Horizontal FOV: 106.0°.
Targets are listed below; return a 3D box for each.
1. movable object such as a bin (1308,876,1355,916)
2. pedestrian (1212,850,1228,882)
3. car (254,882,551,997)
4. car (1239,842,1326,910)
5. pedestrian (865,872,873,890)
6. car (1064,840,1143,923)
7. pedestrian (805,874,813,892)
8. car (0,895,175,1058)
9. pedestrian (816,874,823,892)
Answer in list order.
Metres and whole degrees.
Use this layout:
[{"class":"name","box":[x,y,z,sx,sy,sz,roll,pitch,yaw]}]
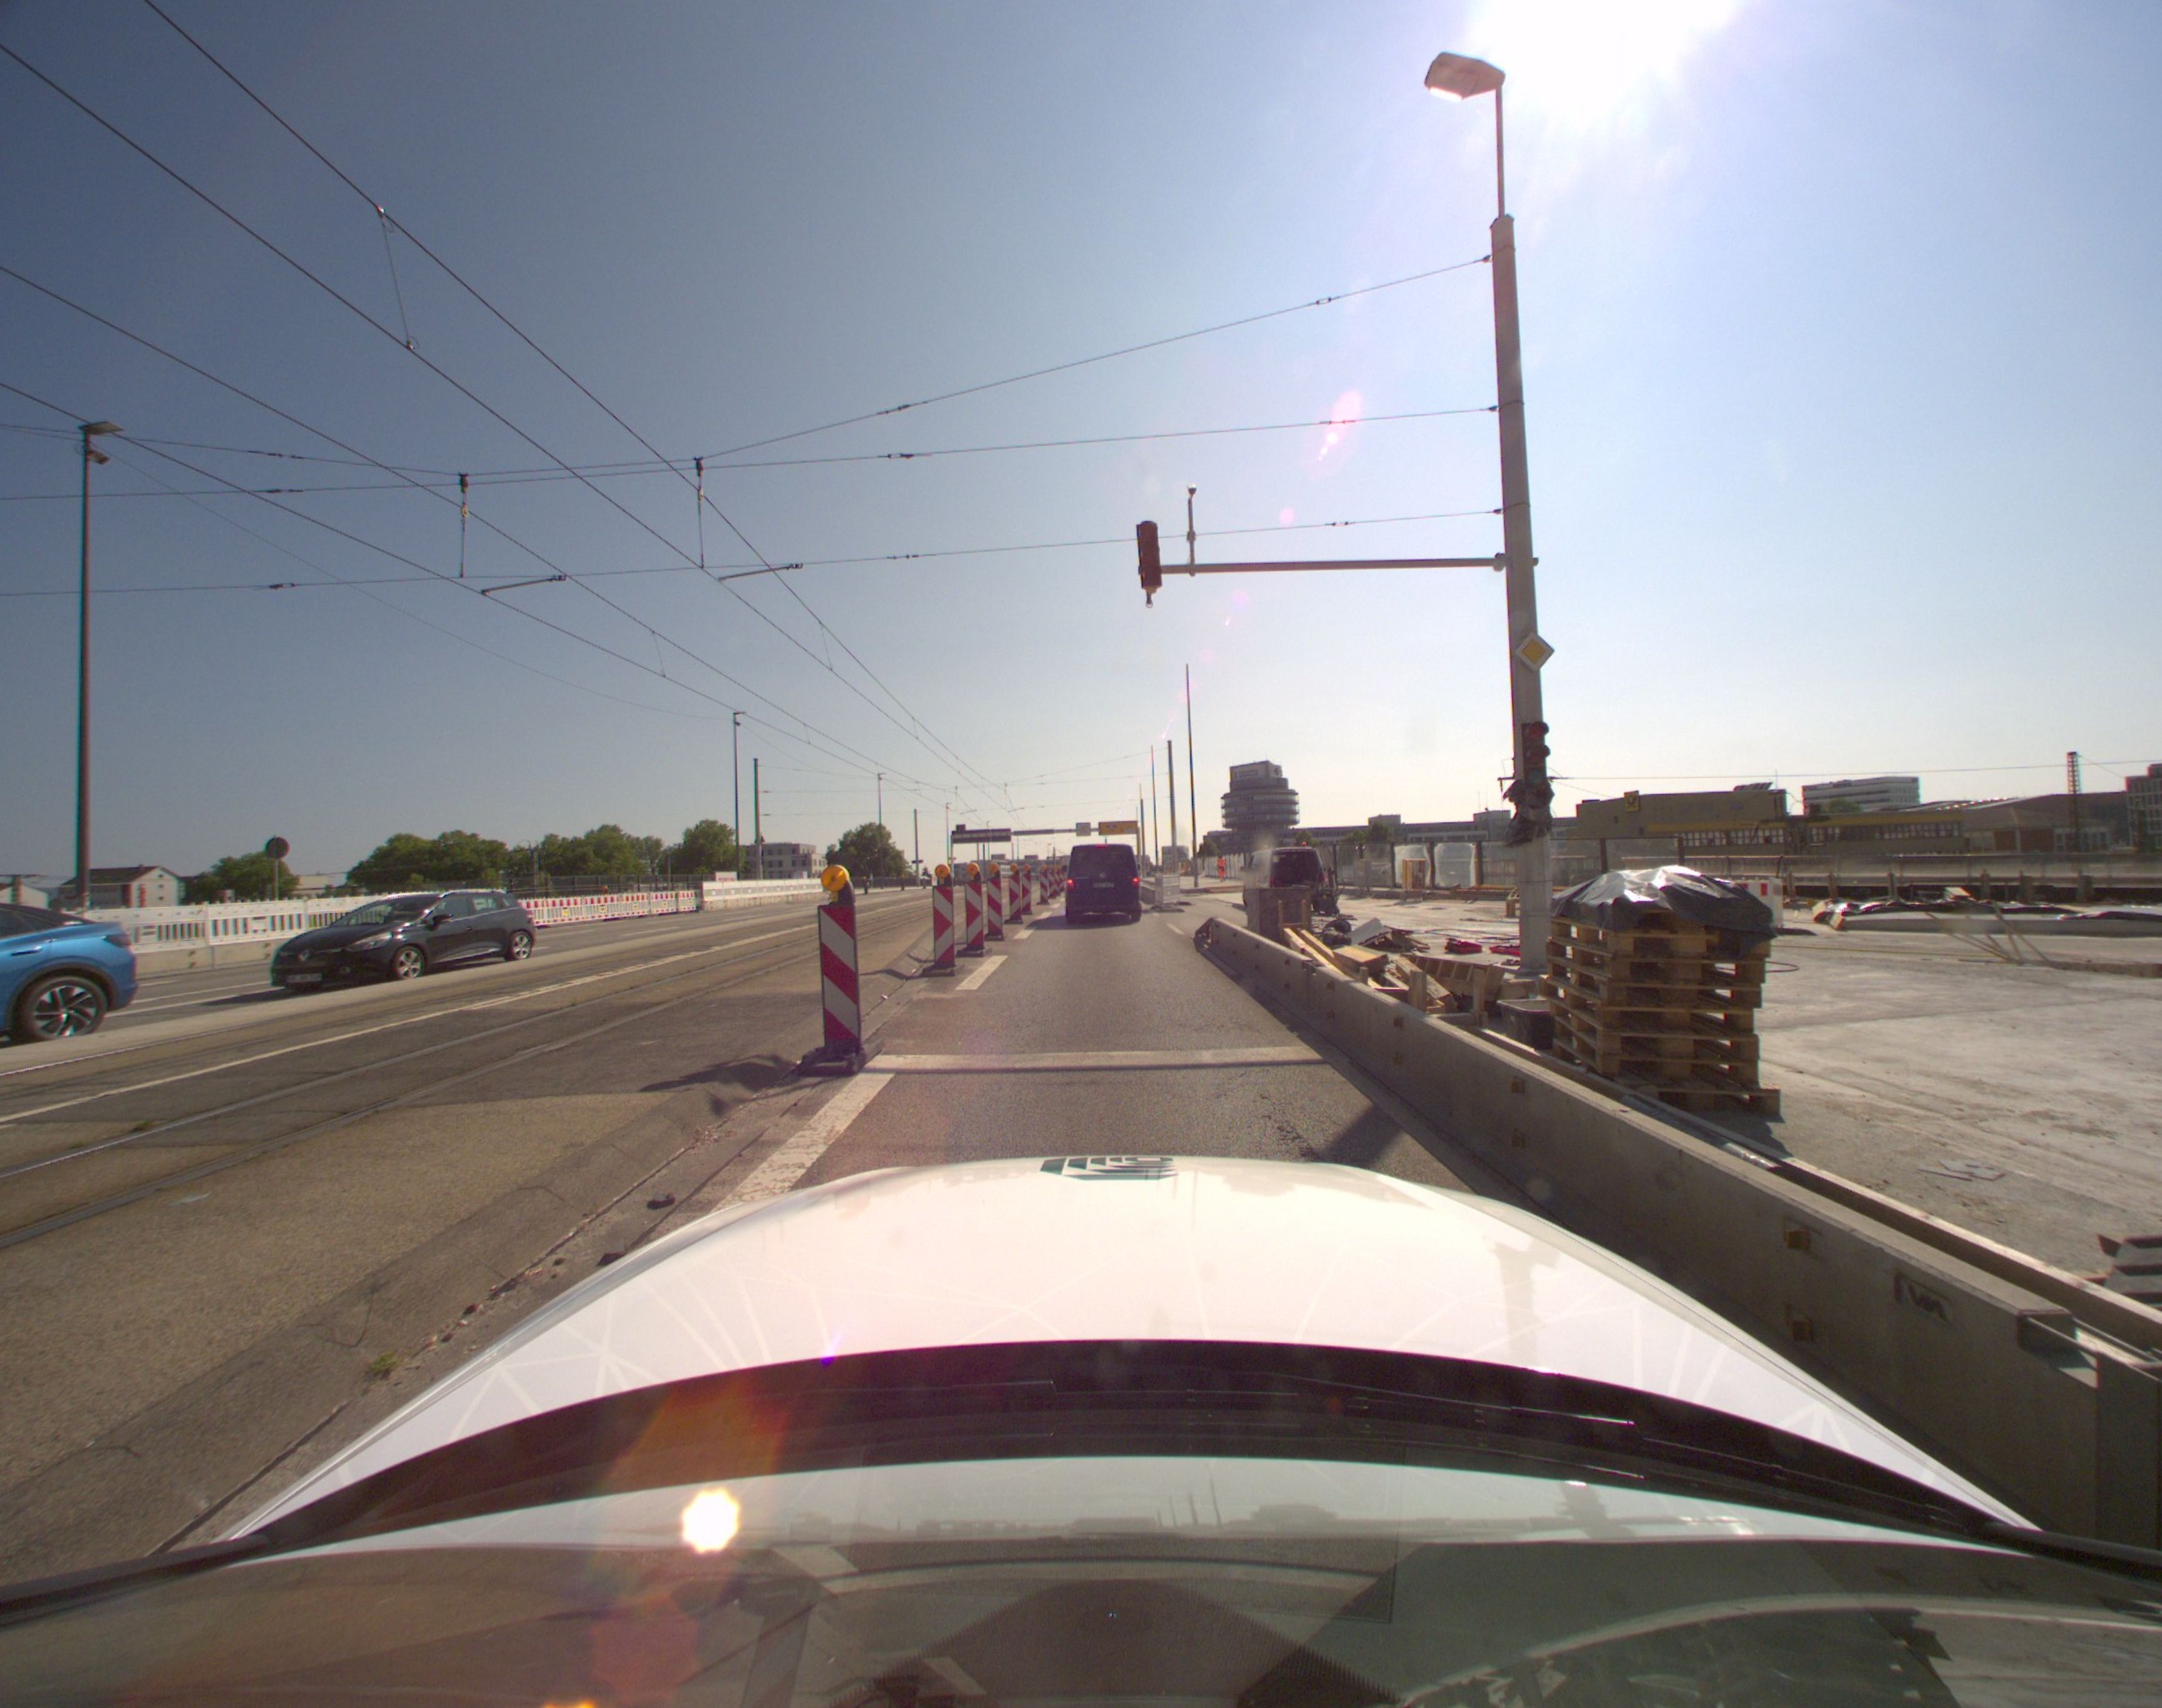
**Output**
[{"class":"movable object such as a bin","box":[7.082,1.162,23.010,0.896,1.074,0.931,0,-1,-43]},{"class":"pedestrian","box":[8.802,0.752,51.595,0.779,1.935,0.799,-4,-2,1]},{"class":"car","box":[-11.428,1.343,14.164,1.500,1.500,4.178,-4,-1,1]},{"class":"car","box":[6.587,0.730,27.177,1.871,2.033,4.893,-1,-1,2]},{"class":"pedestrian","box":[-22.385,2.809,86.089,0.632,1.893,0.752,-1,-1,1]},{"class":"car","box":[0.544,0.678,21.452,1.810,1.905,4.054,-2,0,0]},{"class":"pedestrian","box":[-25.175,2.705,75.398,0.493,1.694,0.474,-1,-2,1]},{"class":"car","box":[-11.600,1.291,7.343,1.664,1.550,4.556,-3,-1,1]},{"class":"pedestrian","box":[-24.195,2.697,75.261,0.493,1.694,0.474,-1,-2,1]}]
